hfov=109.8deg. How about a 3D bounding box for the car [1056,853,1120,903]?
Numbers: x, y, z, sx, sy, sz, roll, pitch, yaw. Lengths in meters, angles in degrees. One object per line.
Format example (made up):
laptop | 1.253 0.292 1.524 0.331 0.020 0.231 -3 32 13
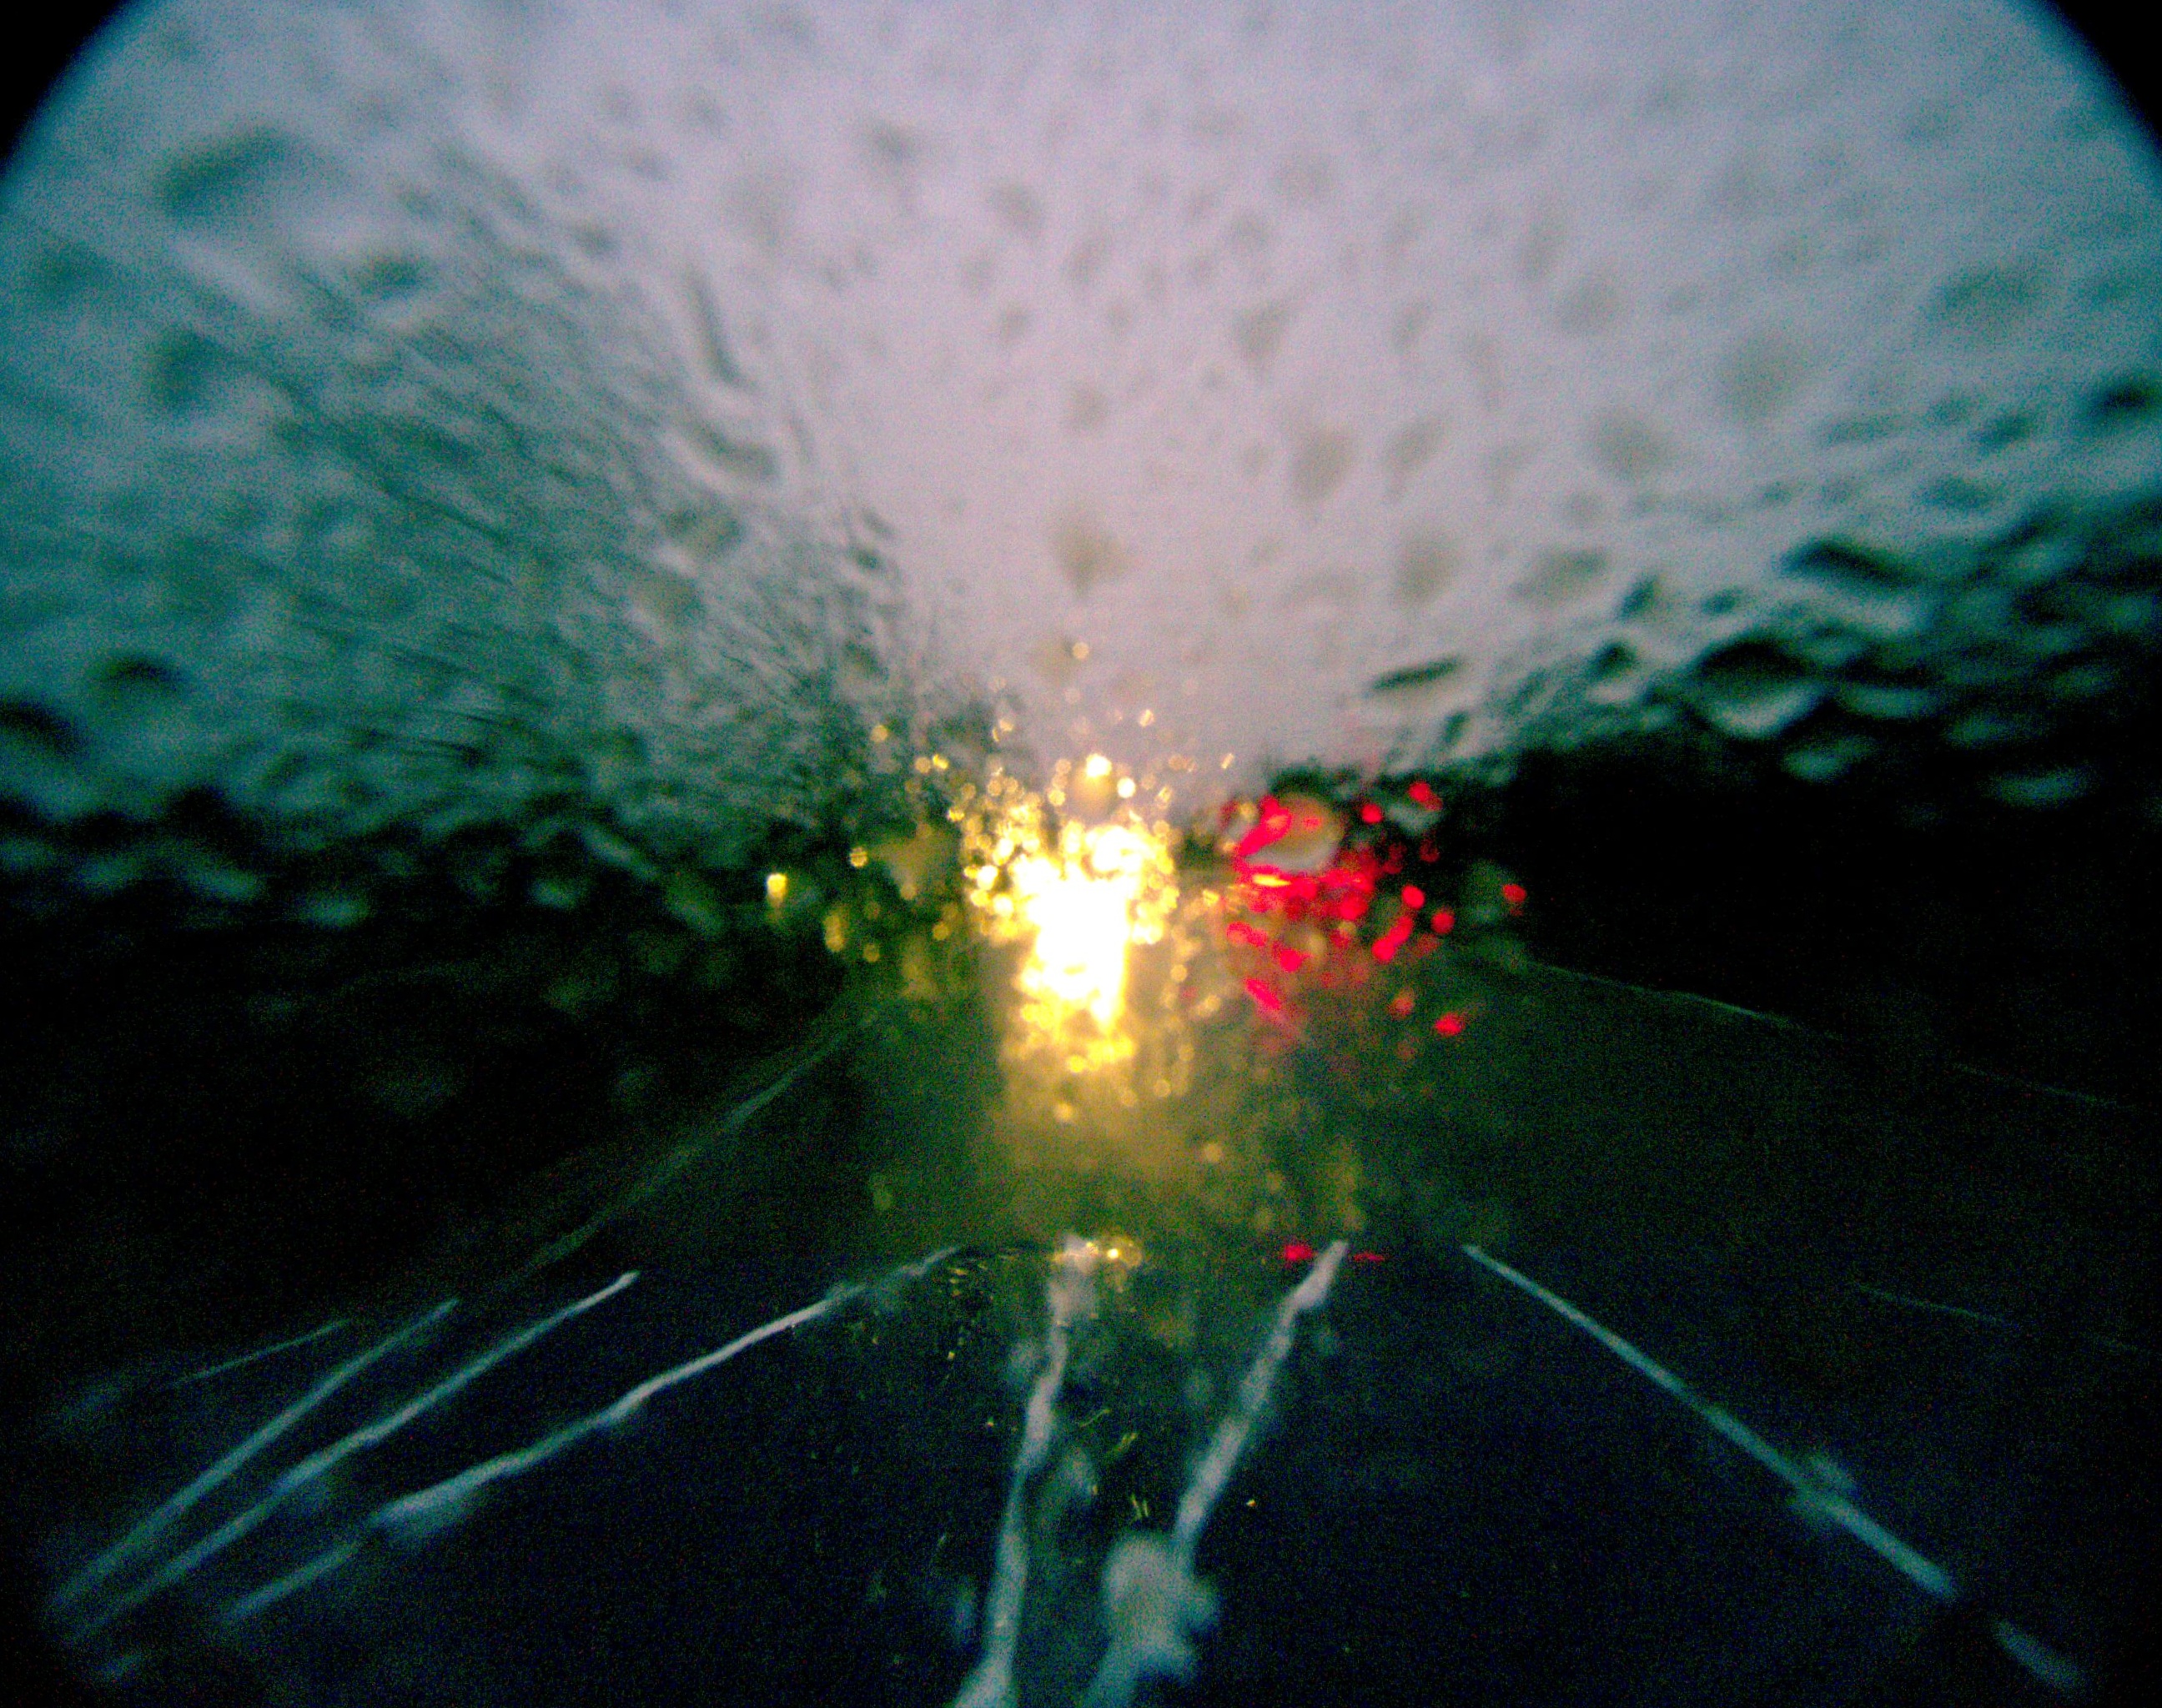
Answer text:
car | 0.347 0.808 27.816 1.998 1.601 4.001 -2 1 4

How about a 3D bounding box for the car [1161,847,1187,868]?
car | 8.440 0.320 69.318 1.998 1.774 4.000 -2 1 2

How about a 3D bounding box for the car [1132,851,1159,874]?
car | 4.751 0.617 56.305 1.695 1.521 4.085 -2 0 1

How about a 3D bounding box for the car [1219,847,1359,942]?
car | 4.053 0.708 15.483 1.756 1.637 4.049 -2 1 1
